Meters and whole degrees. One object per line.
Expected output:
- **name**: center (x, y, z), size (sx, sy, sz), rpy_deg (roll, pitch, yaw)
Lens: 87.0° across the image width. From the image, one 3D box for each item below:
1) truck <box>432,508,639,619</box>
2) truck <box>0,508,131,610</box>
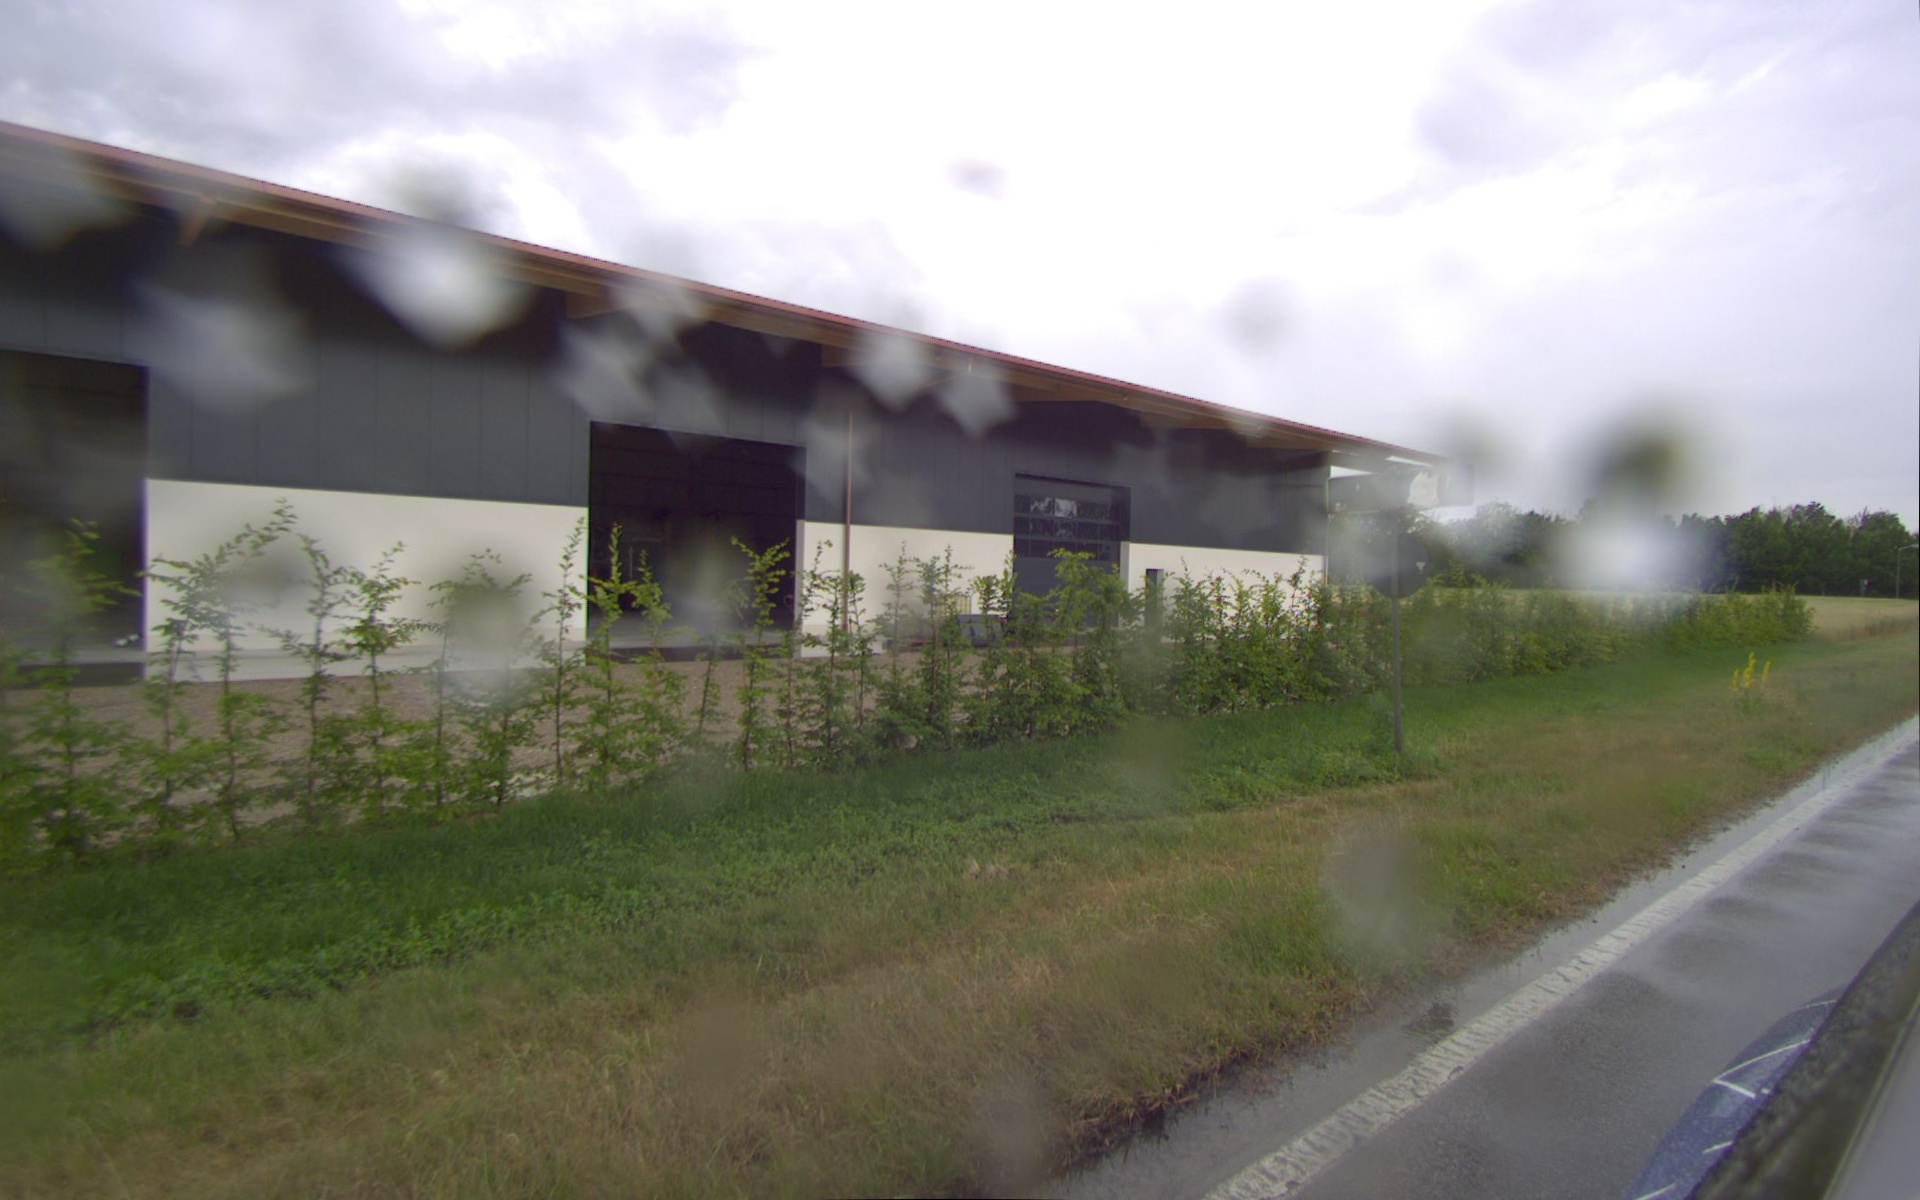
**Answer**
- **truck**: center (-12.781, -1.071, 30.662), size (5.250, 3.050, 2.495), rpy_deg (0, 2, -41)
- **truck**: center (-25.941, -1.112, 26.863), size (6.047, 2.639, 2.122), rpy_deg (0, 2, -41)
